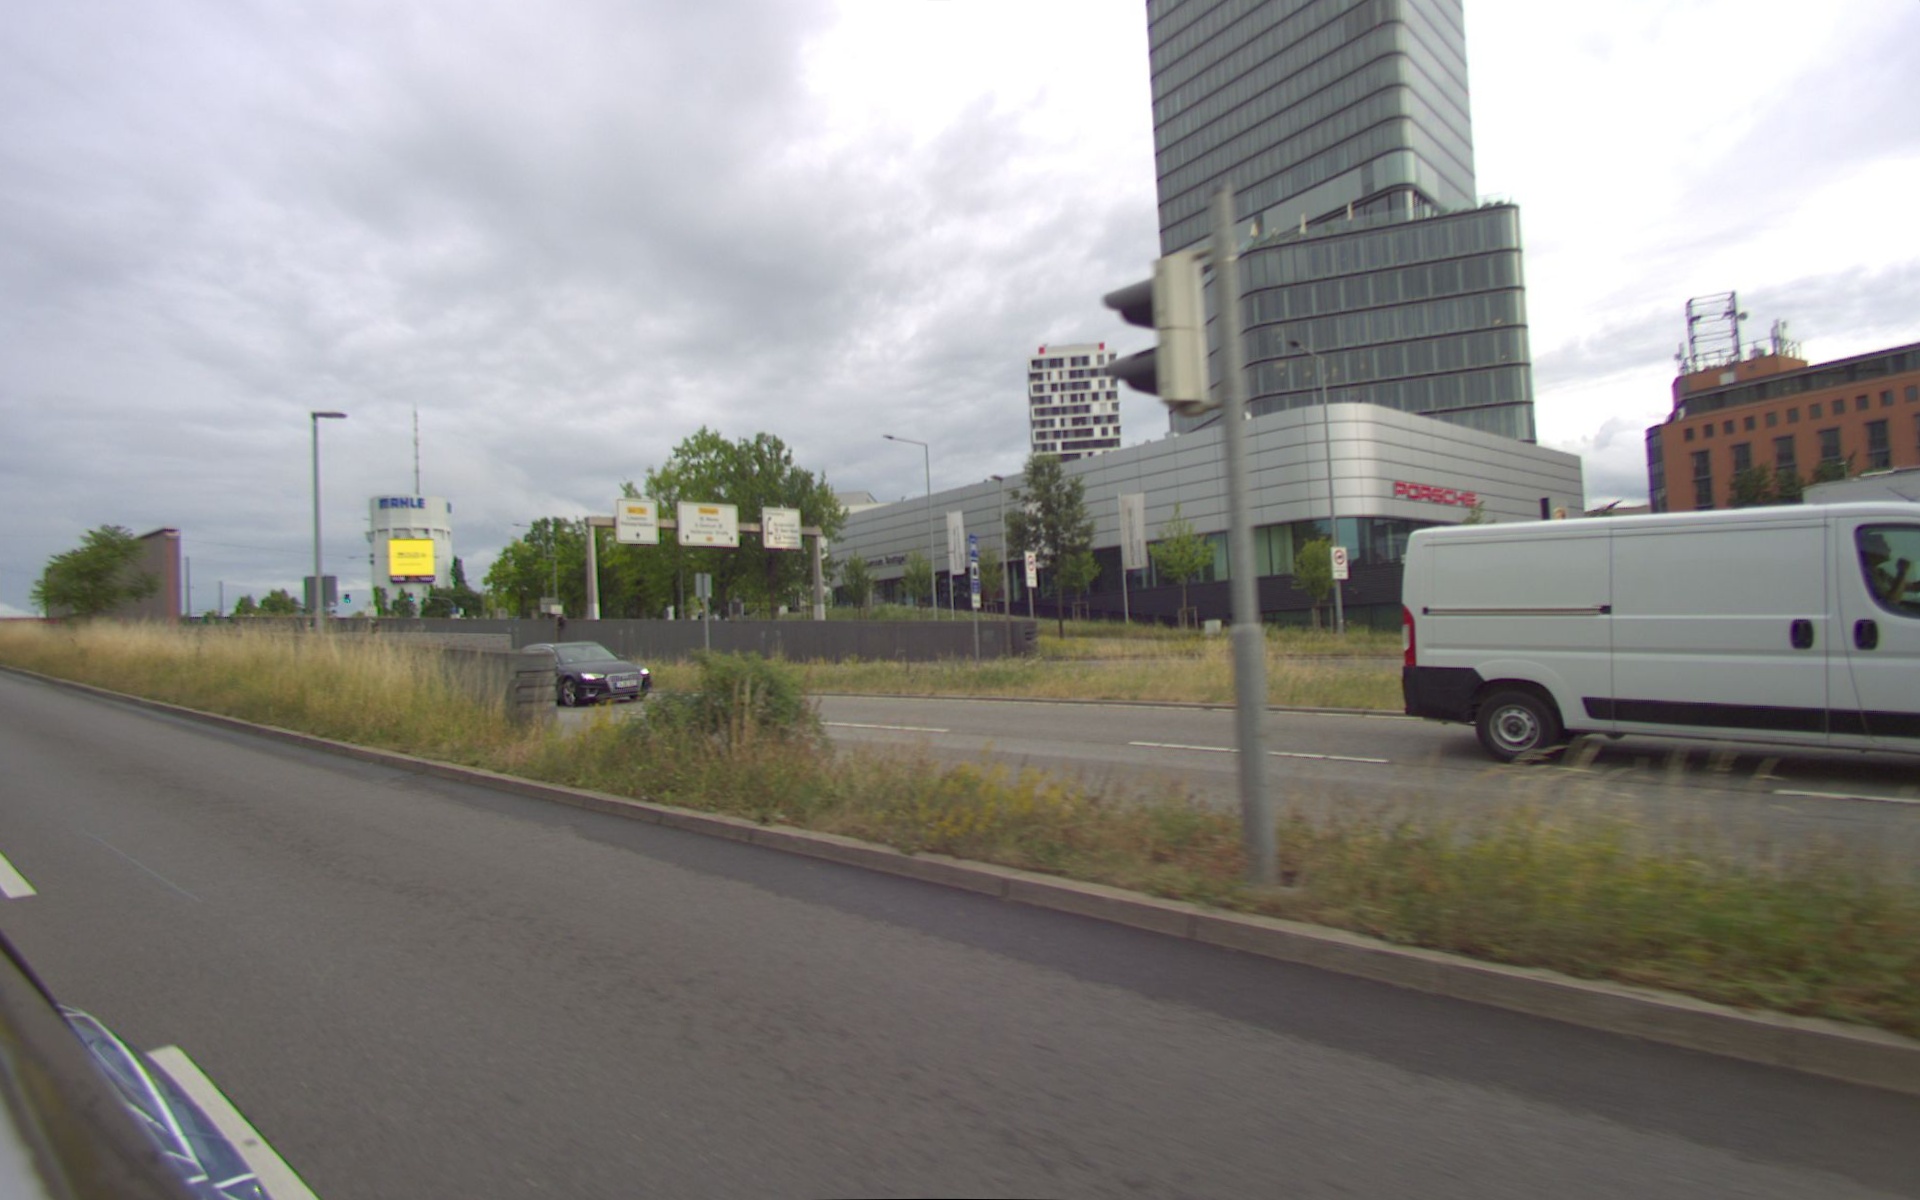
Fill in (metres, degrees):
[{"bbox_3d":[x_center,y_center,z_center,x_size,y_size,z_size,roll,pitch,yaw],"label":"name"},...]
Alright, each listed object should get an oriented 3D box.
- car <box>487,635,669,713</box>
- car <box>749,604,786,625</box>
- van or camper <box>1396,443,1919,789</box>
[{"bbox_3d":[-8.905,1.634,23.410,4.627,1.429,1.792,-1,3,39],"label":"car"},{"bbox_3d":[-22.806,1.701,119.720,3.992,2.029,1.976,-6,-2,36],"label":"car"},{"bbox_3d":[6.949,0.138,8.588,5.532,2.457,2.179,-2,-2,44],"label":"van or camper"}]
